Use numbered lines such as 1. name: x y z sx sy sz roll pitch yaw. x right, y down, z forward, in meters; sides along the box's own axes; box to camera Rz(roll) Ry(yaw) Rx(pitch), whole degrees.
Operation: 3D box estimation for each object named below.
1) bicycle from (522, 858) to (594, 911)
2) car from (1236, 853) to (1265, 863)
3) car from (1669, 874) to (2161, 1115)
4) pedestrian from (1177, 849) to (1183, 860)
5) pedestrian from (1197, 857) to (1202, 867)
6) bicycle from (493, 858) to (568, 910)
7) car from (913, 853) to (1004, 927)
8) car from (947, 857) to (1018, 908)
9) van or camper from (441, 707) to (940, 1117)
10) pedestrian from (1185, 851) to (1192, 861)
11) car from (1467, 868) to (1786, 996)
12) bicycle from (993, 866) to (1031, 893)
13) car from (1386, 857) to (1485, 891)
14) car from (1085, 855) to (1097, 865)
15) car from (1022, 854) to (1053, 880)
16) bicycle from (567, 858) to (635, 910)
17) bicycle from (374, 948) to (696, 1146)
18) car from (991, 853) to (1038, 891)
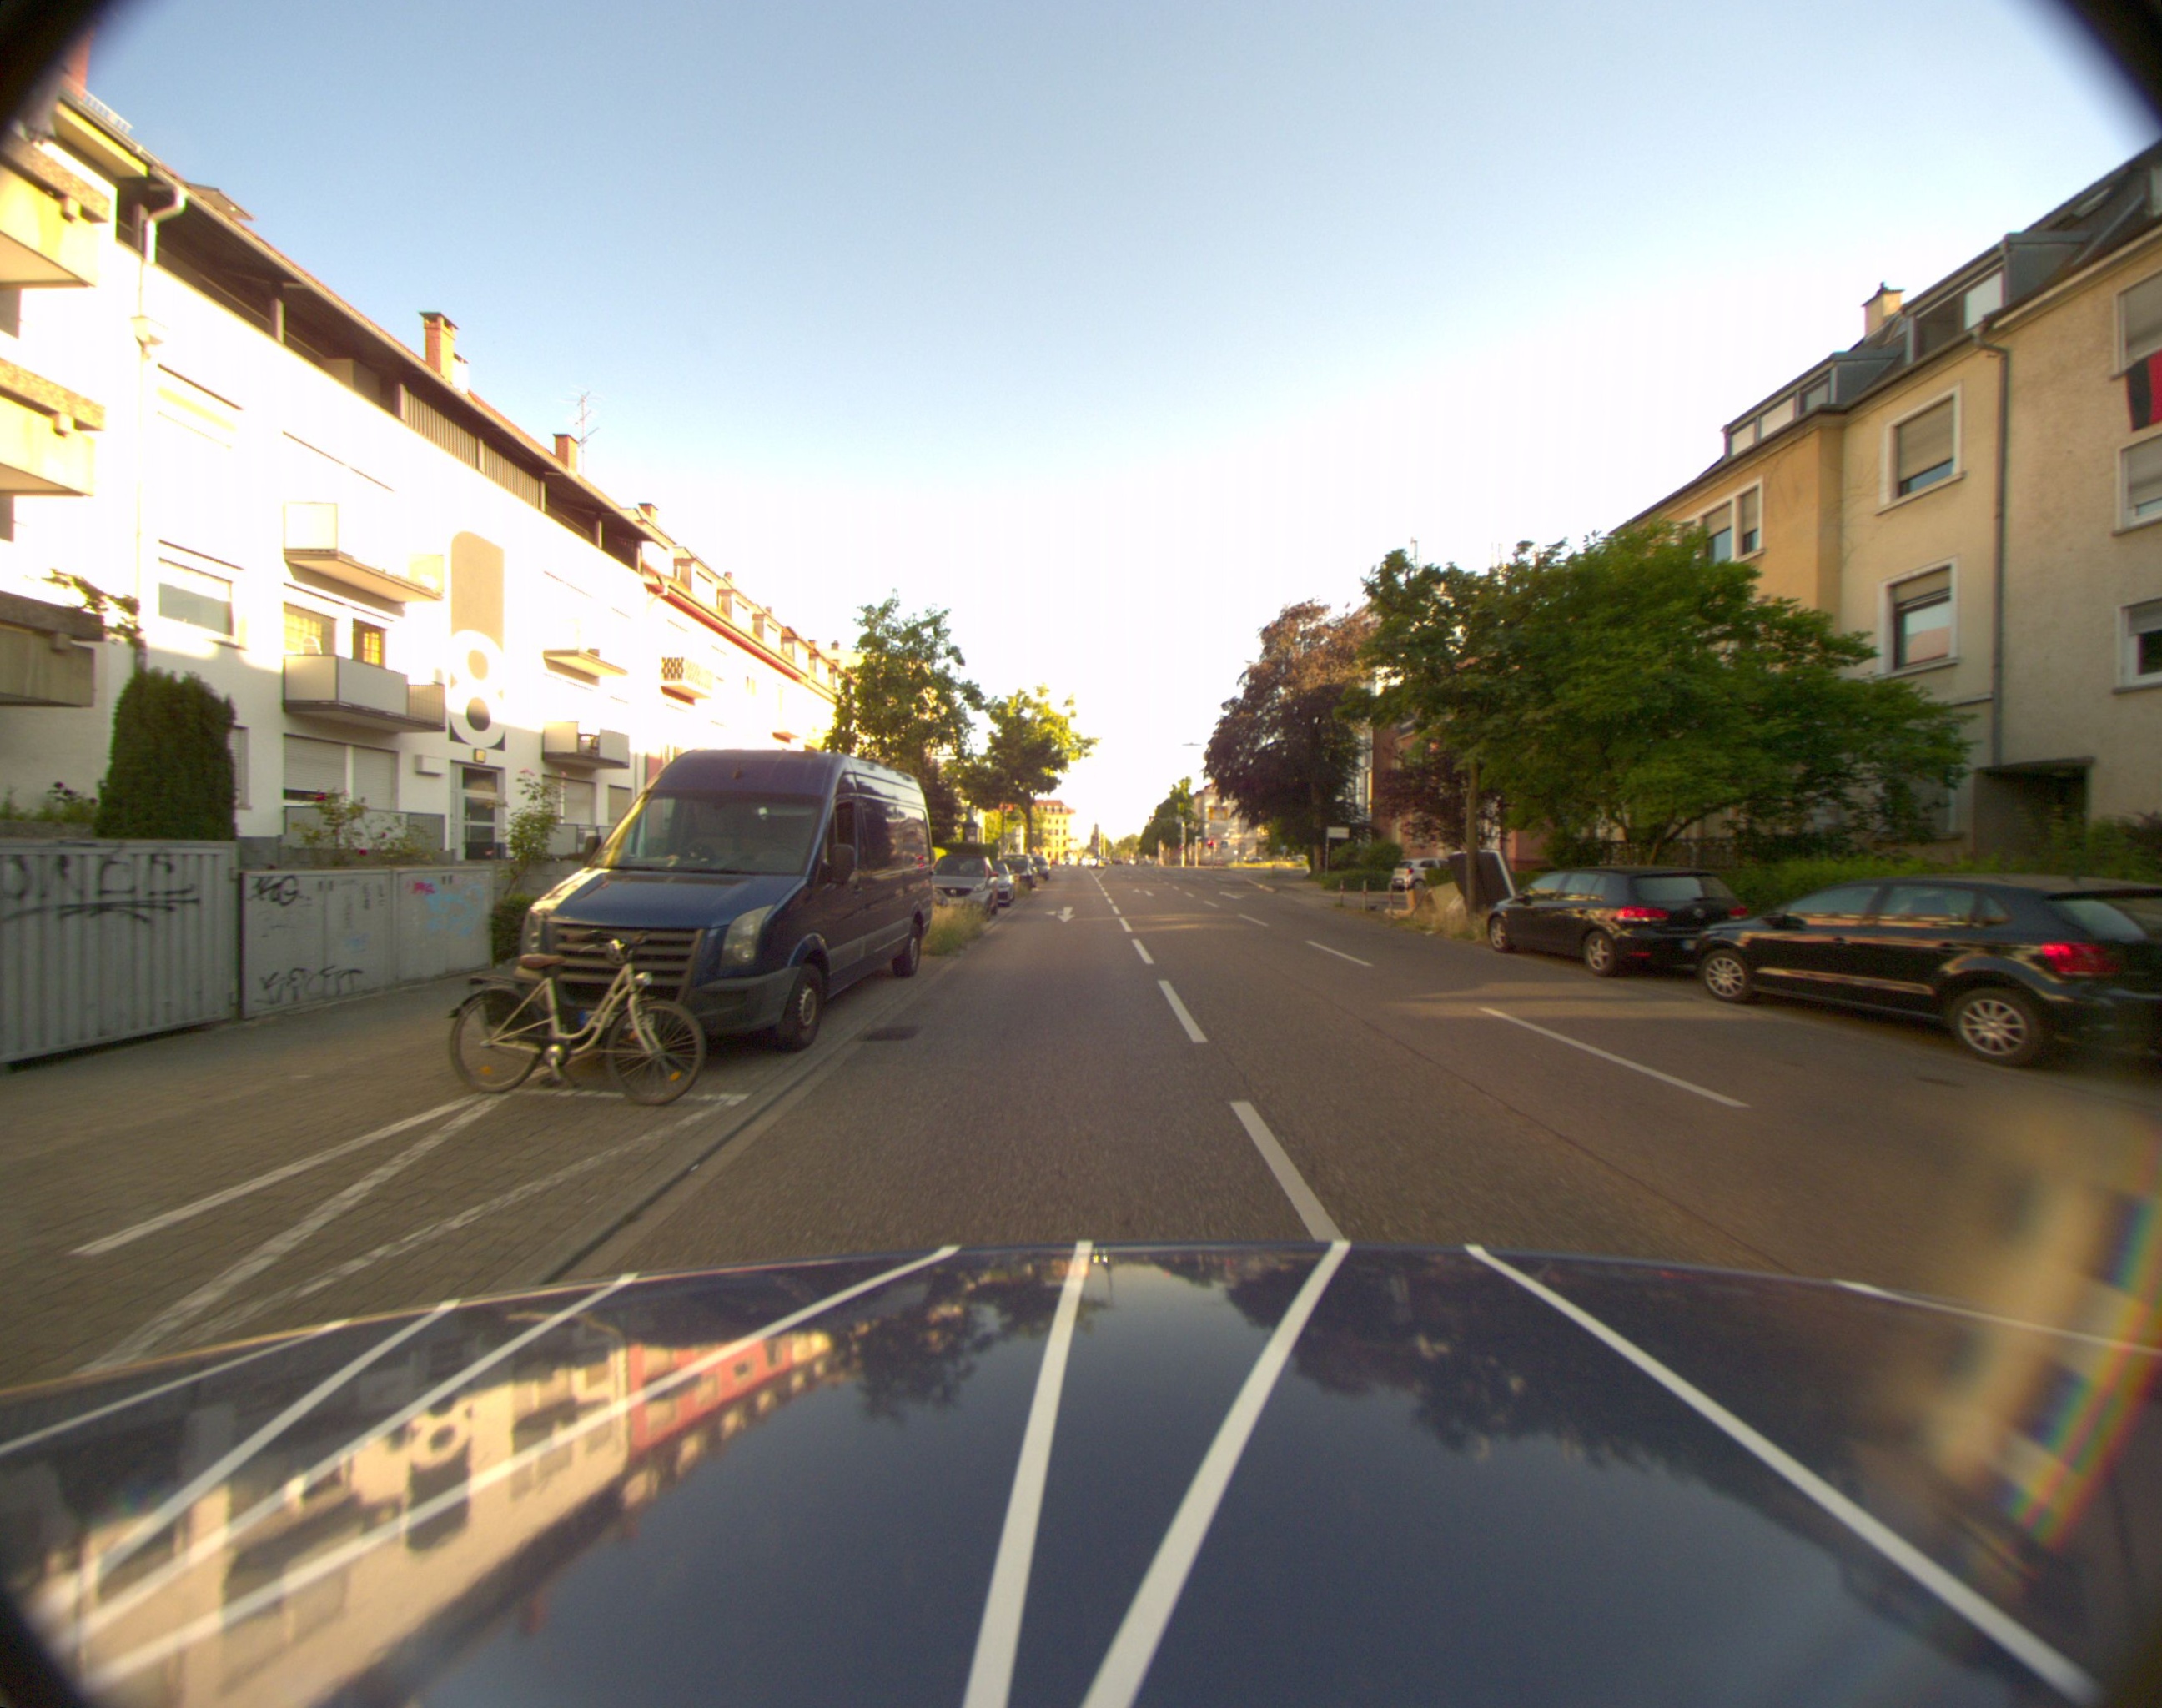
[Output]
1. bicycle: -11.177 0.619 16.292 0.493 1.083 1.544 0 0 0
2. car: 23.791 0.539 106.815 3.646 1.437 1.999 0 0 -4
3. car: 7.789 0.969 6.952 1.754 1.494 3.978 0 0 0
4. pedestrian: 16.816 0.084 129.091 0.678 1.698 1.084 0 0 -9
5. pedestrian: 19.294 1.233 123.909 0.621 1.641 0.889 0 0 -9
6. bicycle: -11.798 0.618 16.343 0.493 1.083 1.544 0 0 0
7. car: -2.975 0.820 19.169 1.777 1.633 3.756 0 1 -2
8. car: -3.060 0.823 24.376 1.925 1.477 4.744 0 0 -3
9. van or camper: -3.084 0.349 7.931 2.073 2.660 5.989 0 1 0
10. pedestrian: 18.344 0.348 129.468 0.821 1.838 1.169 0 0 -9
11. car: 7.703 0.989 11.348 1.754 1.494 4.197 0 0 0
12. bicycle: -2.803 1.018 30.754 1.482 1.053 0.411 0 0 -13
13. car: 15.558 0.866 33.474 3.507 1.477 1.815 0 0 -4
14. car: 1.506 0.899 112.279 1.764 1.489 3.708 0 0 0
15. car: -2.760 0.809 48.467 1.737 1.542 3.646 0 0 0
16. bicycle: -10.333 0.621 16.413 0.493 1.083 1.544 0 0 0
17. bicycle: -3.283 1.142 4.619 1.705 1.083 0.404 0 0 3
18. car: -2.944 0.774 34.301 1.737 1.641 4.291 0 0 0
